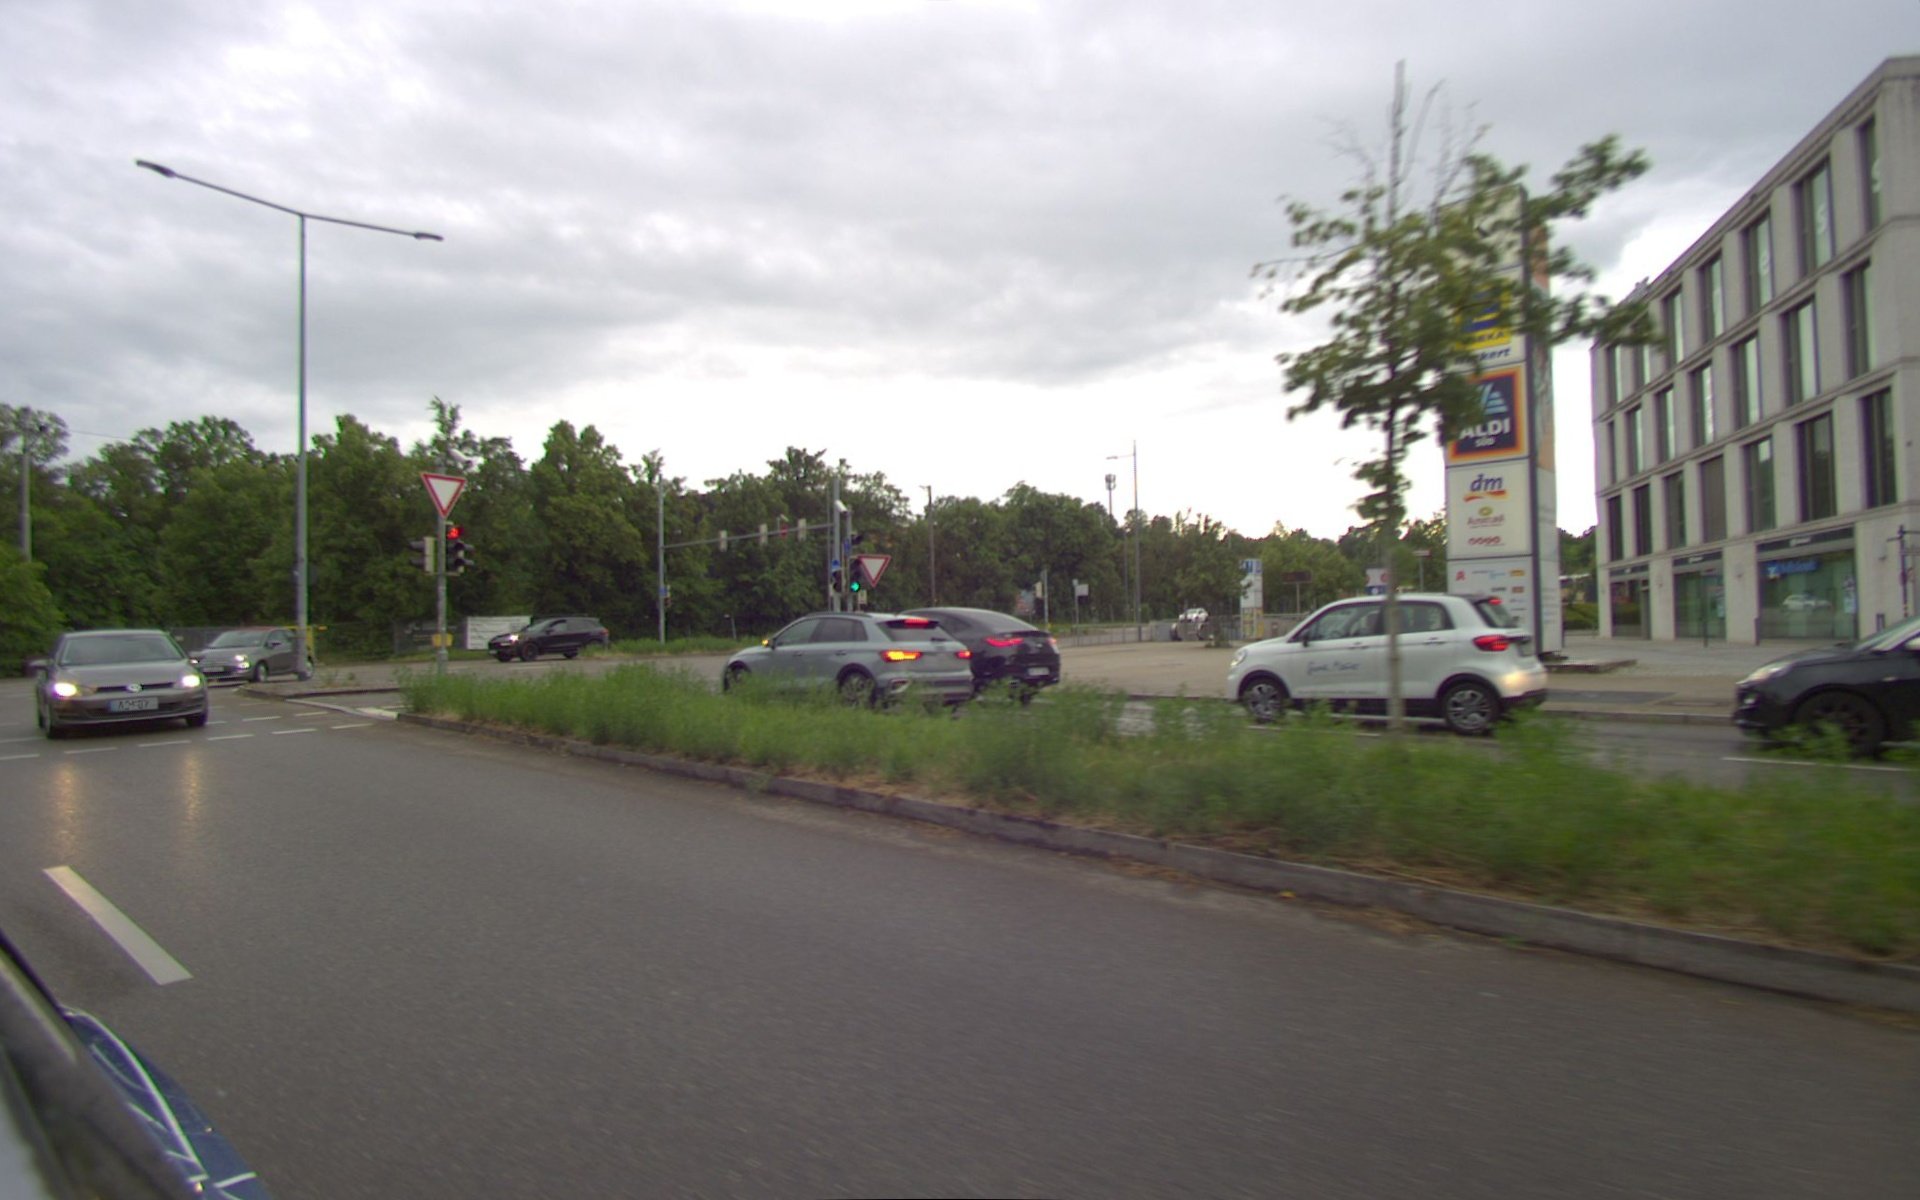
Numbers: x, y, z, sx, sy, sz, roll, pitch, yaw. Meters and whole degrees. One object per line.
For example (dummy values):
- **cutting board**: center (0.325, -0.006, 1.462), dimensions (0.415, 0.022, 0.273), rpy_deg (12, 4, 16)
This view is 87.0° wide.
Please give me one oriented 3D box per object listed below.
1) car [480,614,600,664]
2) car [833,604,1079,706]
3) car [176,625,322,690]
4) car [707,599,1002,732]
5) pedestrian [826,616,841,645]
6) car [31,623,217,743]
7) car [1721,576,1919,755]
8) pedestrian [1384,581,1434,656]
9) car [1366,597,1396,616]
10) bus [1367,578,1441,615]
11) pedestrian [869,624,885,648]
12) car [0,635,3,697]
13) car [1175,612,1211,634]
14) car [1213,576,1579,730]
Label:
- **car**: center (-16.499, 1.503, 39.887), dimensions (1.906, 1.785, 3.945), rpy_deg (-3, -1, 41)
- **car**: center (-0.150, 0.938, 17.320), dimensions (4.063, 1.531, 1.805), rpy_deg (-3, -4, 42)
- **car**: center (-19.046, 1.486, 27.308), dimensions (1.645, 1.541, 3.662), rpy_deg (-2, -1, -6)
- **car**: center (-1.605, 0.914, 14.417), dimensions (4.164, 1.587, 1.829), rpy_deg (-4, -2, 42)
- **pedestrian**: center (-8.612, 2.084, 68.765), dimensions (0.677, 1.898, 0.690), rpy_deg (-3, -1, 42)
- **car**: center (-12.374, 1.116, 14.901), dimensions (1.877, 1.450, 4.004), rpy_deg (-2, 0, -42)
- **car**: center (8.912, 0.523, 8.517), dimensions (1.695, 1.471, 3.752), rpy_deg (1, -4, -44)
- **pedestrian**: center (10.480, 0.437, 23.650), dimensions (0.669, 1.699, 0.754), rpy_deg (-2, -1, -16)
- **car**: center (48.703, 0.738, 117.059), dimensions (1.998, 2.029, 3.948), rpy_deg (-4, -2, 39)
- **bus**: center (38.670, -0.273, 87.828), dimensions (2.881, 3.011, 9.866), rpy_deg (-2, -1, 42)
- **pedestrian**: center (-6.014, 2.615, 73.289), dimensions (0.822, 1.688, 0.820), rpy_deg (-3, -1, 42)
- **car**: center (-24.648, 1.647, 23.518), dimensions (1.621, 1.532, 3.583), rpy_deg (-2, -1, -5)
- **car**: center (22.538, 2.190, 97.917), dimensions (1.996, 2.029, 3.951), rpy_deg (-2, -1, 36)
- **car**: center (5.164, 0.642, 12.270), dimensions (3.702, 1.588, 1.632), rpy_deg (-4, -3, 43)
